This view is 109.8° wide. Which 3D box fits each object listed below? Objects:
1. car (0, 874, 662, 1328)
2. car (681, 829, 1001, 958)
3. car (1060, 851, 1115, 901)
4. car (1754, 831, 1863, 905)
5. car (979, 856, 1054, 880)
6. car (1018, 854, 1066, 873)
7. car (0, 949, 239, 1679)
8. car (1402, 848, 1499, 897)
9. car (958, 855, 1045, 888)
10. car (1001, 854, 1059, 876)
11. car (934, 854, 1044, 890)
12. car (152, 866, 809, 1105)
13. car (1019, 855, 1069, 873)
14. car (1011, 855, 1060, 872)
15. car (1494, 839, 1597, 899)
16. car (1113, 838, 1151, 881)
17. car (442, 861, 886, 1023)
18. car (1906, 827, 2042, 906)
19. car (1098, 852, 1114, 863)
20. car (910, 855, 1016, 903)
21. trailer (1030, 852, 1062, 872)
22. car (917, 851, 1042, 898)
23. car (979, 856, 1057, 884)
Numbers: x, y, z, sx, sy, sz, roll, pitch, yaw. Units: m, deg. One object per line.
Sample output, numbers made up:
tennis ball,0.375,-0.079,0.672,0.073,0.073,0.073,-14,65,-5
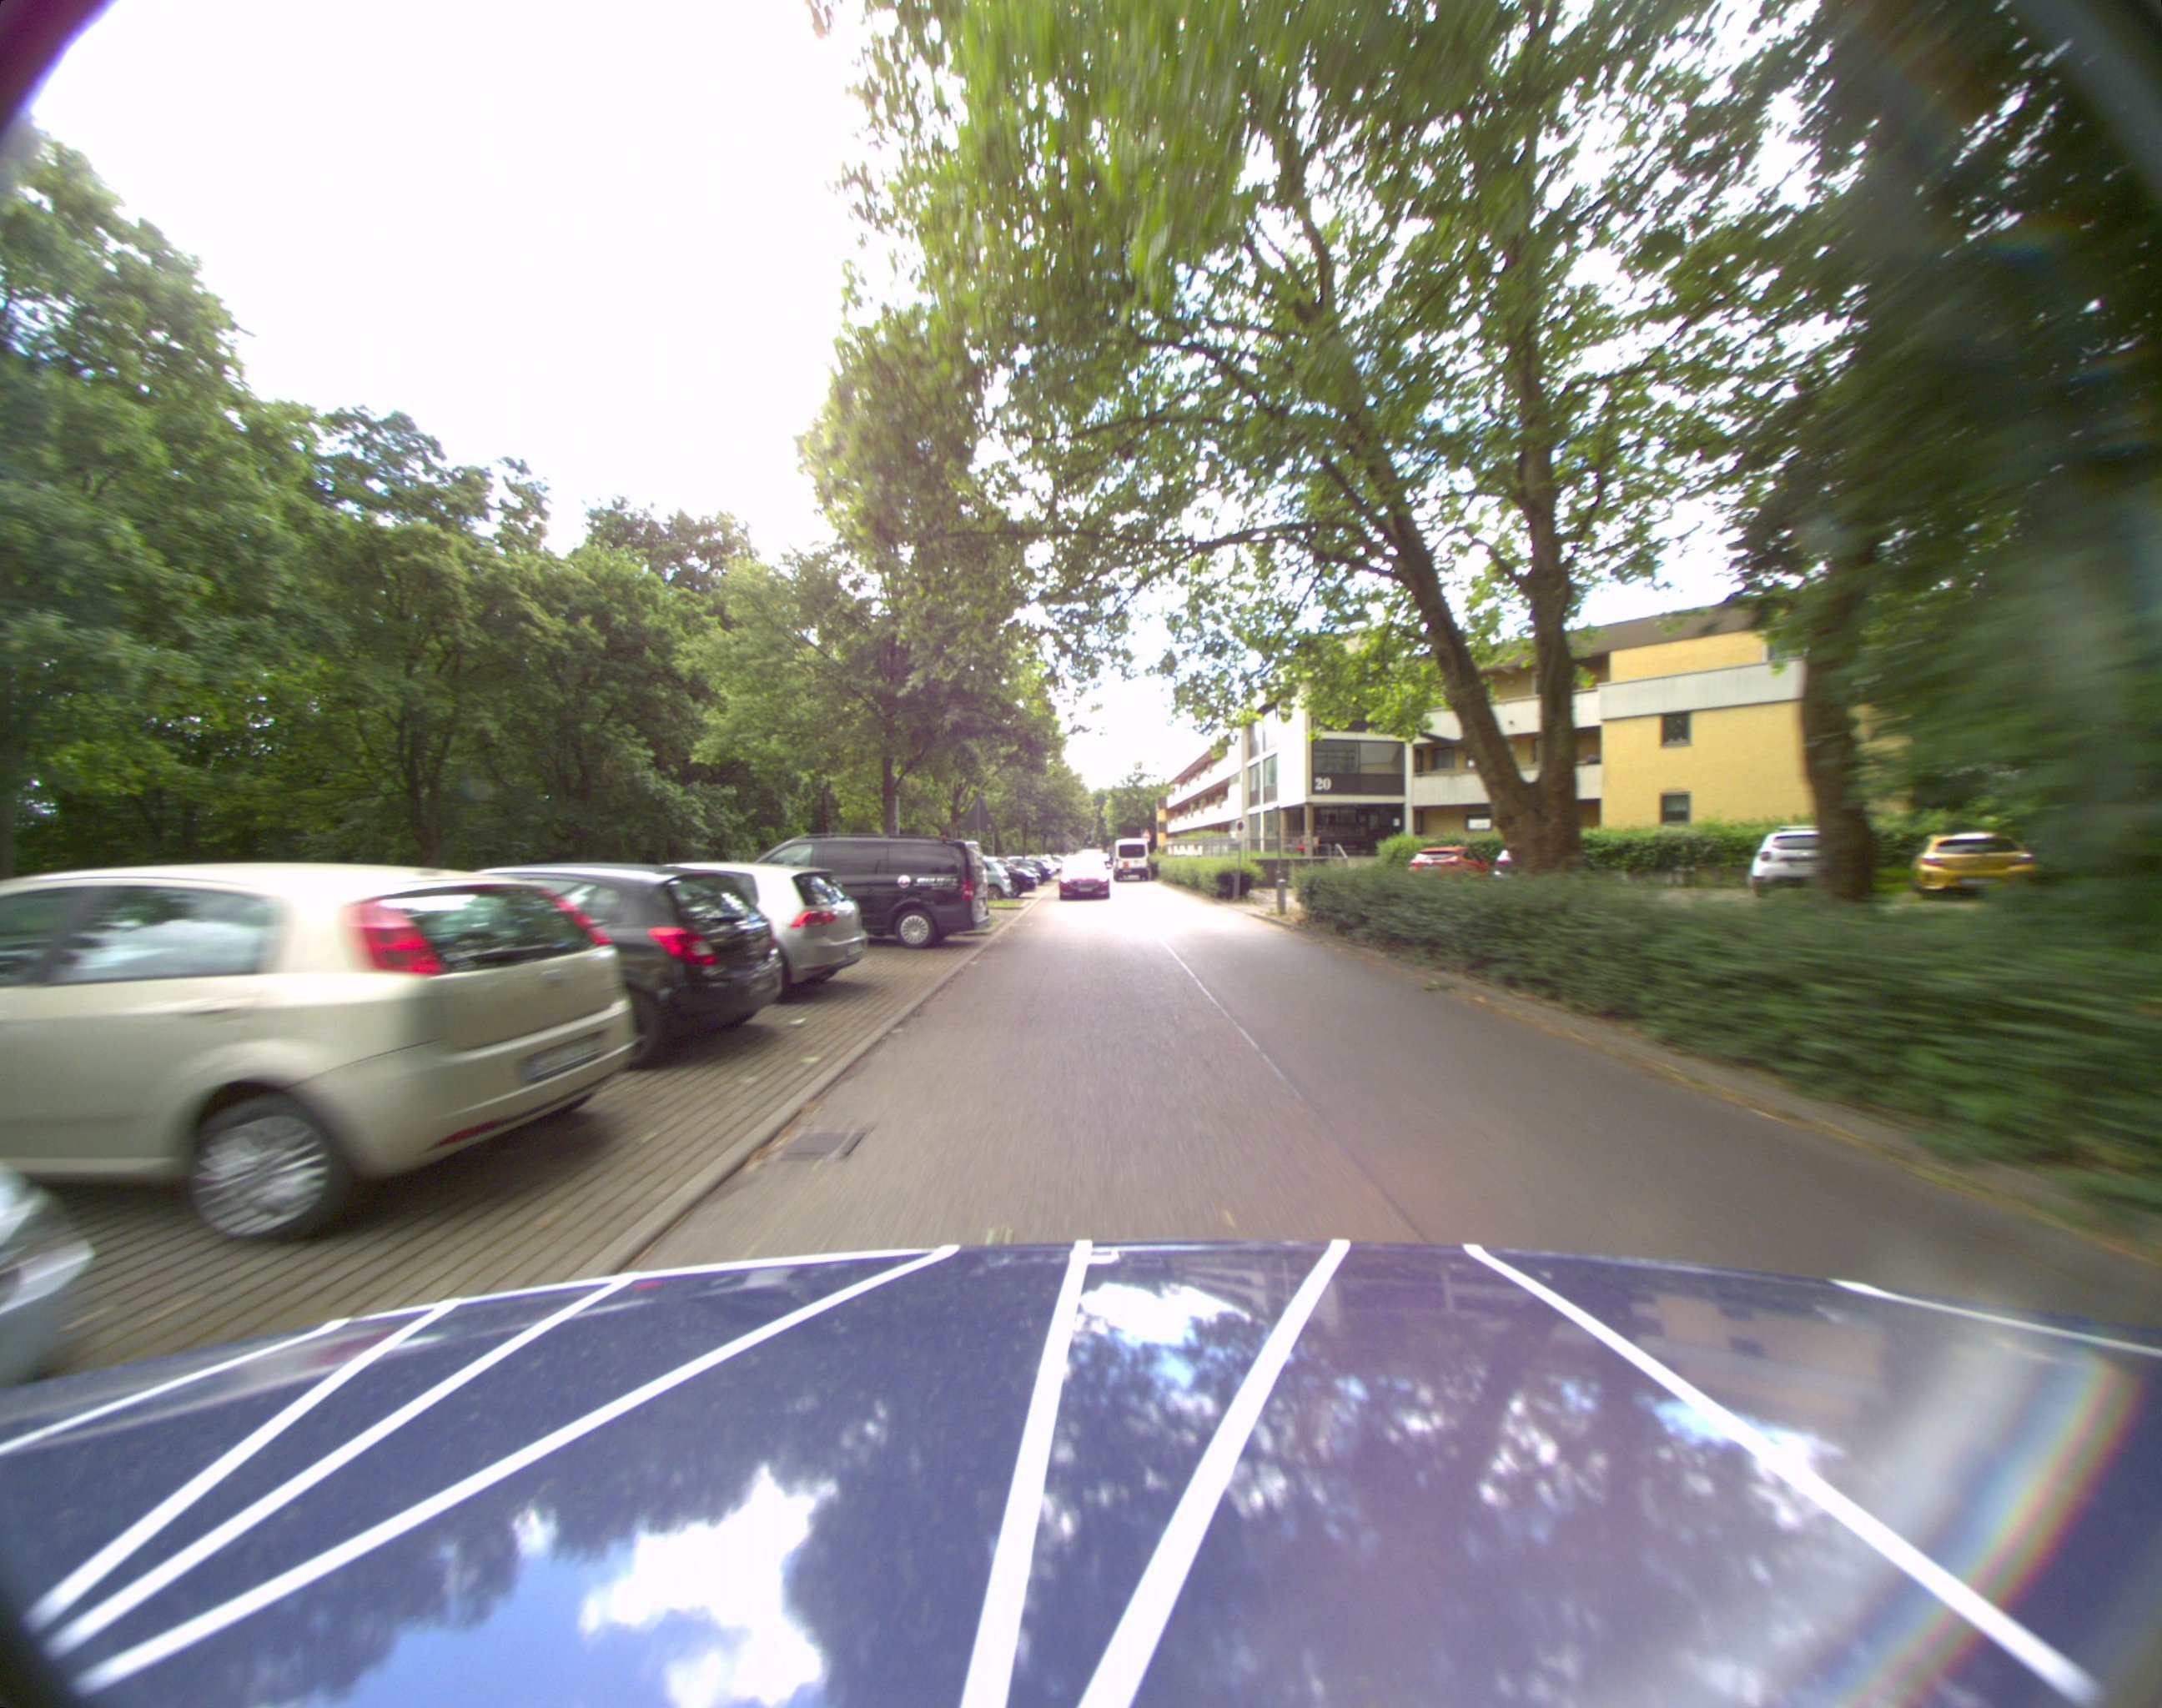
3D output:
car,-4.525,0.917,3.677,3.996,1.519,1.811,1,1,1
car,-4.075,0.642,13.573,4.966,2.002,2.166,1,0,2
car,0.249,0.771,29.420,1.918,1.707,5.038,-2,0,1
car,18.172,0.278,18.924,4.123,1.639,1.802,-2,1,-44
car,-3.983,0.855,47.426,4.496,1.446,1.846,1,0,1
car,-3.365,0.800,66.143,4.124,1.539,1.860,1,0,-2
car,-4.194,0.949,1.010,3.997,1.422,1.935,1,1,1
car,12.348,0.571,25.248,1.744,1.422,4.008,-1,1,44
car,-3.826,0.845,37.127,4.084,1.508,1.850,1,0,-3
car,-3.541,0.760,53.172,3.849,1.507,1.881,1,0,4
car,-4.090,0.811,34.288,4.647,1.508,1.983,1,0,3
car,-4.529,0.912,6.151,3.970,1.502,1.763,1,0,3
car,-3.688,1.013,76.514,4.828,1.683,1.974,1,0,4
car,-3.809,0.790,63.662,4.020,1.414,1.791,1,0,-4
car,13.952,0.396,22.727,1.820,1.602,4.008,-1,1,44
car,3.172,0.317,48.051,2.137,2.461,6.278,-2,0,2
car,-4.433,0.886,8.508,3.970,1.502,1.794,1,0,2
car,20.243,0.217,17.371,4.008,1.602,1.744,-2,1,-44
car,3.226,0.449,98.428,1.918,1.403,4.423,-2,0,0
car,-4.069,0.861,26.551,3.387,1.565,1.797,1,0,1
trailer,-3.273,0.719,71.362,3.037,1.780,1.563,1,0,-2
car,-3.782,0.770,28.995,4.426,1.666,2.082,1,0,1
car,-3.456,0.883,42.105,4.082,1.448,1.851,1,0,2
